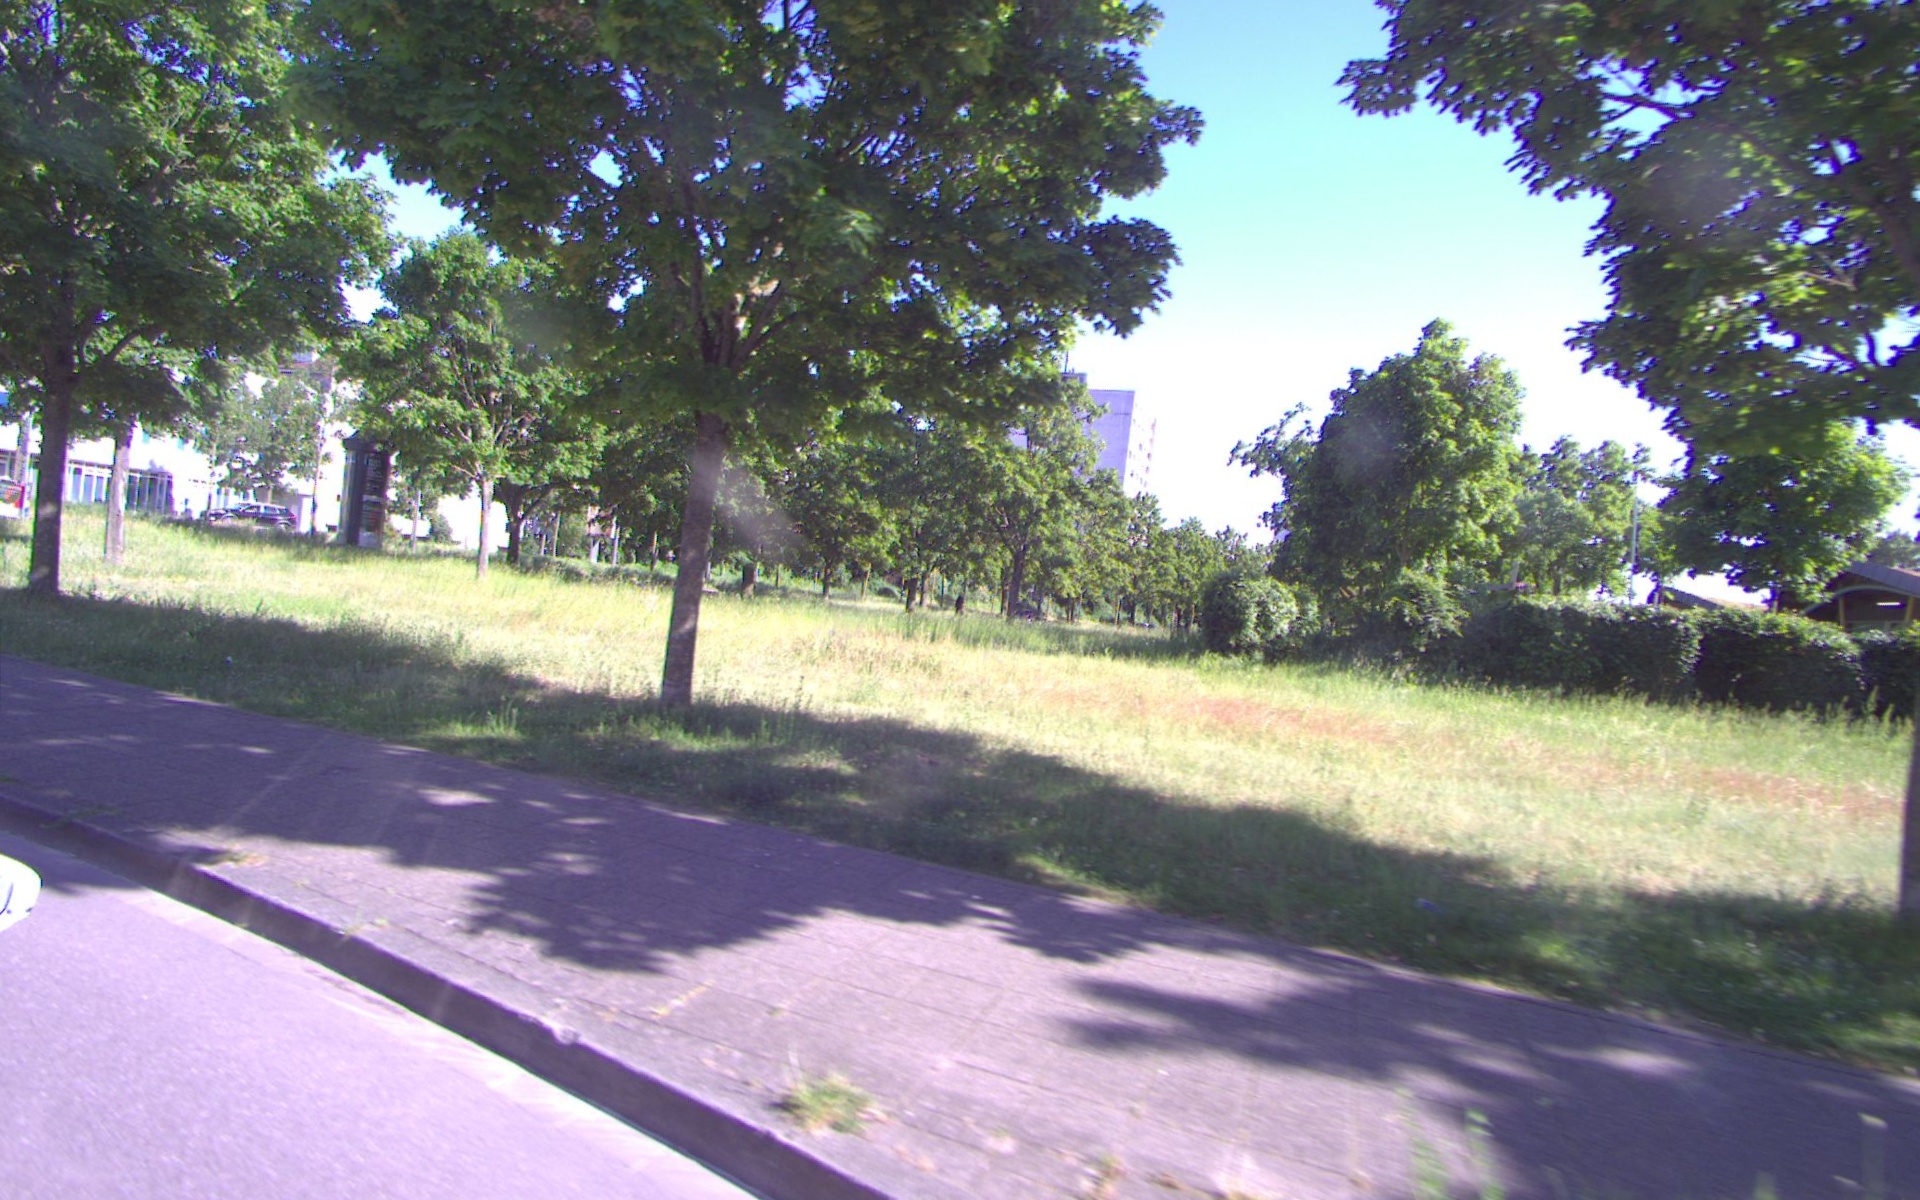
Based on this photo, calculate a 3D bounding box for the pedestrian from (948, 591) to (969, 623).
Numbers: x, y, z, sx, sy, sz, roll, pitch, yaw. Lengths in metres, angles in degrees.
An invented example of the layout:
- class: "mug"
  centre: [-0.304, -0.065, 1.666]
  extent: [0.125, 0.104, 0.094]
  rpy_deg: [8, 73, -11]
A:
- class: "pedestrian"
  centre: [-0.060, 0.403, 58.171]
  extent: [0.726, 1.748, 0.888]
  rpy_deg: [7, 1, 25]

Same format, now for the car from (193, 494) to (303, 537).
- class: "car"
  centre: [-39.354, -4.656, 55.722]
  extent: [1.966, 1.629, 4.507]
  rpy_deg: [7, 0, 30]
